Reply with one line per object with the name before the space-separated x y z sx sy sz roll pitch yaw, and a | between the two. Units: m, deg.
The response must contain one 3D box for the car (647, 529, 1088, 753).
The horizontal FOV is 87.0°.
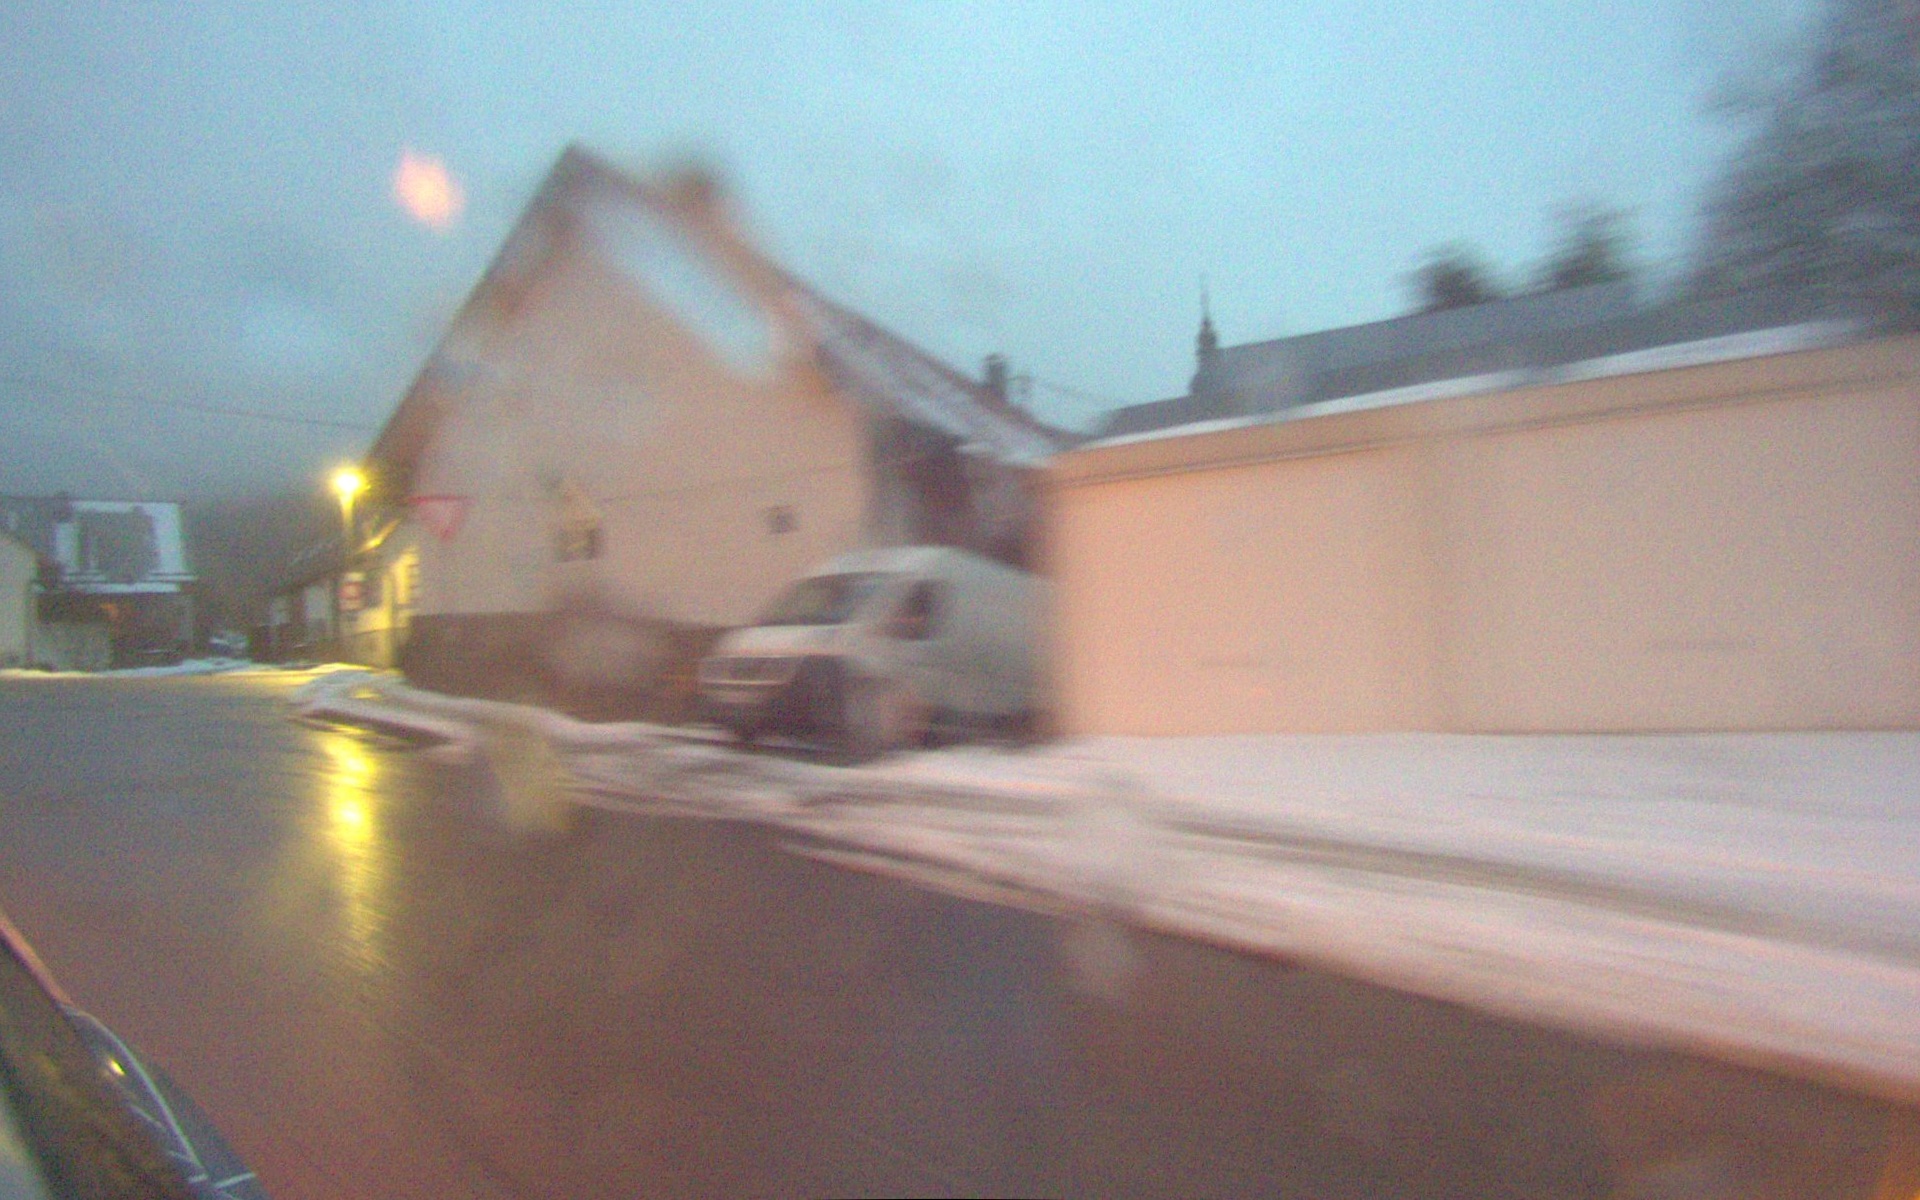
car | -0.796 0.295 11.919 2.212 2.028 5.210 2 2 38
